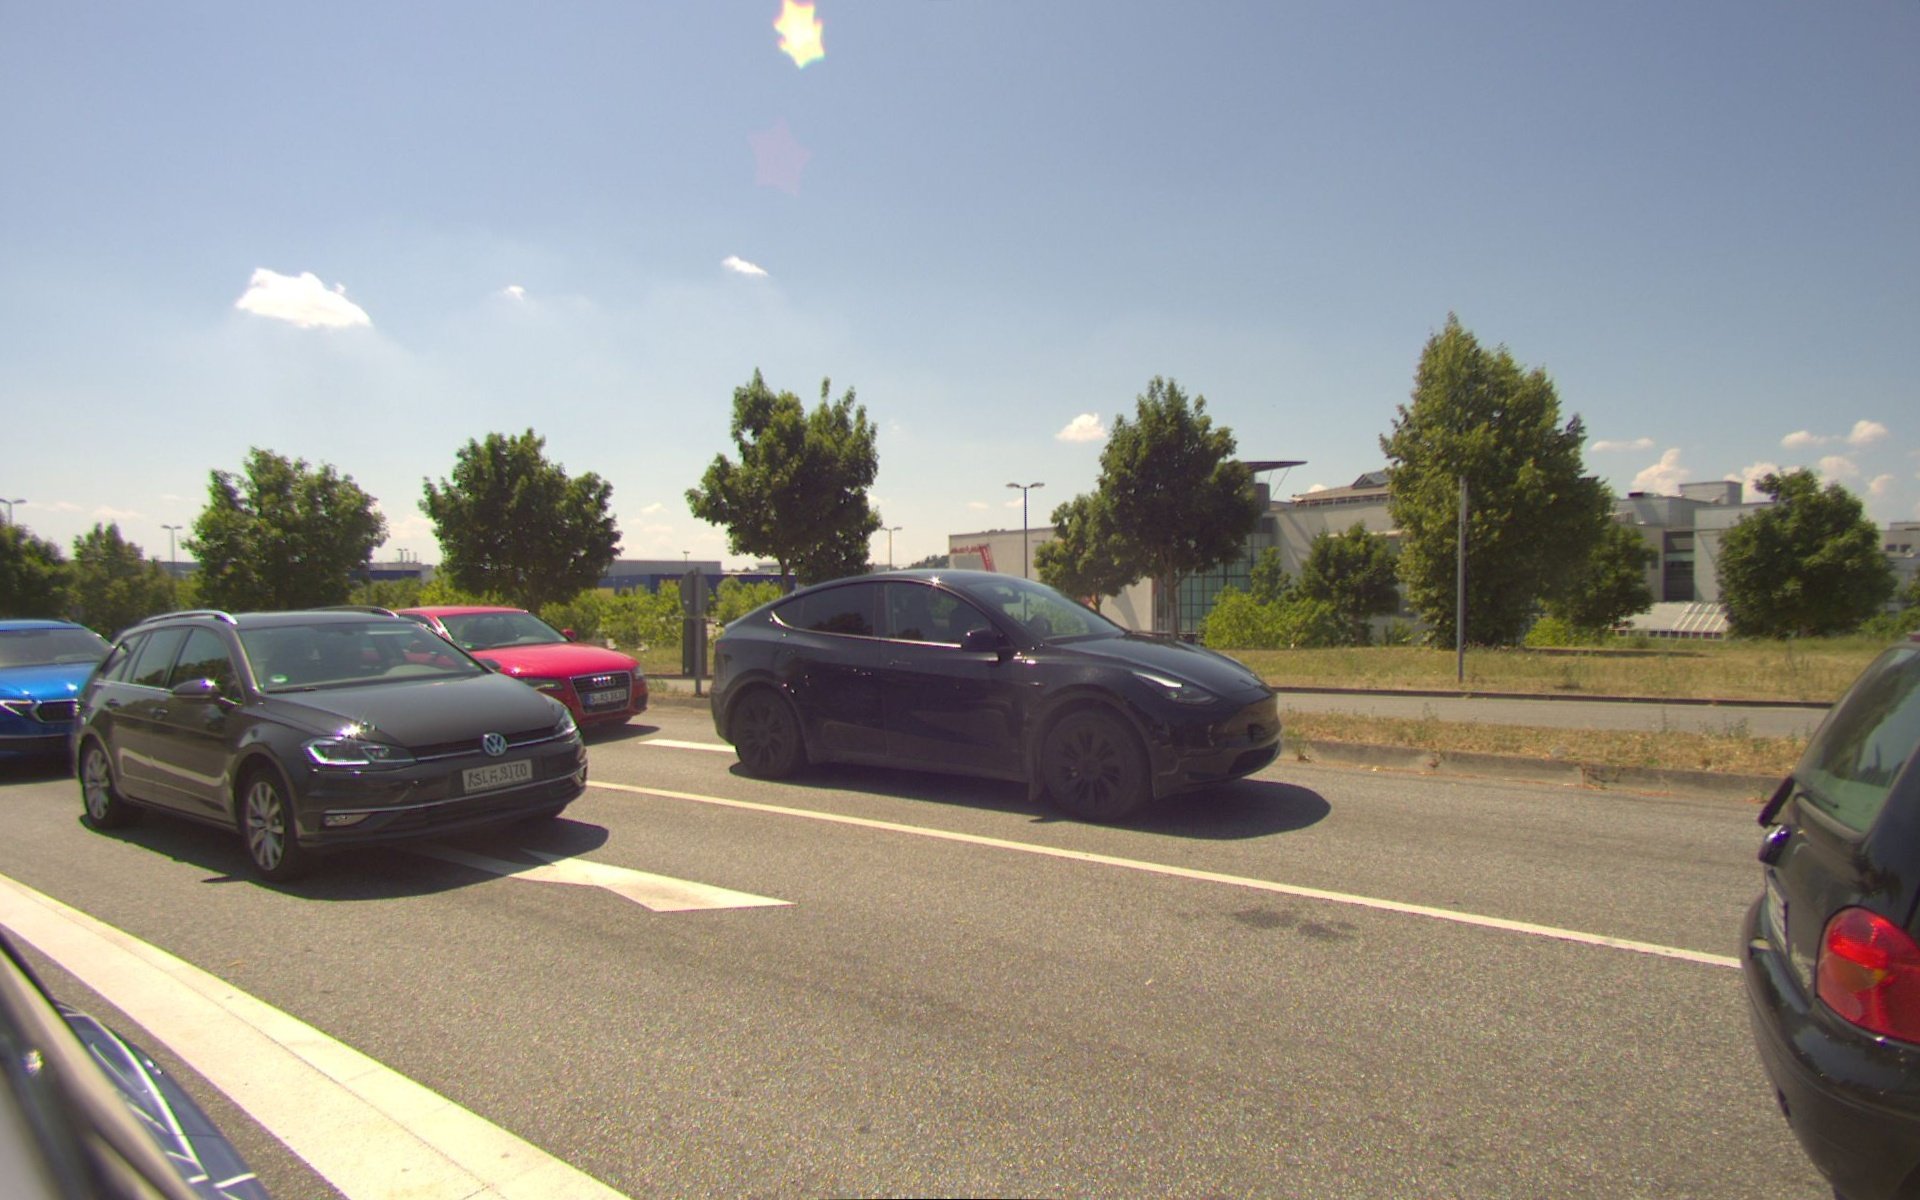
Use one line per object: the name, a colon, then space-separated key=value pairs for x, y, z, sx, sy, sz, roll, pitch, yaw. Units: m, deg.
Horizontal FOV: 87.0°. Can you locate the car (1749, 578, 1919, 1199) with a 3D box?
car: x=3.304 y=0.654 z=1.466 sx=3.293 sy=1.418 sz=1.605 roll=-1 pitch=0 yaw=35

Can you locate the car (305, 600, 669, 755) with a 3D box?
car: x=-5.453 y=0.754 z=11.454 sx=4.437 sy=1.398 sz=1.647 roll=-1 pitch=1 yaw=34

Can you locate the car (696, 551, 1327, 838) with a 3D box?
car: x=0.249 y=0.544 z=7.720 sx=4.493 sy=1.613 sz=1.860 roll=-1 pitch=0 yaw=34

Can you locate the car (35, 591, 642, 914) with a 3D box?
car: x=-4.265 y=0.740 z=6.700 sx=4.417 sy=1.493 sz=1.763 roll=-1 pitch=0 yaw=34

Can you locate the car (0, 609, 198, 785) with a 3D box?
car: x=-9.952 y=0.921 z=10.428 sx=4.470 sy=1.473 sz=1.696 roll=-2 pitch=0 yaw=30
